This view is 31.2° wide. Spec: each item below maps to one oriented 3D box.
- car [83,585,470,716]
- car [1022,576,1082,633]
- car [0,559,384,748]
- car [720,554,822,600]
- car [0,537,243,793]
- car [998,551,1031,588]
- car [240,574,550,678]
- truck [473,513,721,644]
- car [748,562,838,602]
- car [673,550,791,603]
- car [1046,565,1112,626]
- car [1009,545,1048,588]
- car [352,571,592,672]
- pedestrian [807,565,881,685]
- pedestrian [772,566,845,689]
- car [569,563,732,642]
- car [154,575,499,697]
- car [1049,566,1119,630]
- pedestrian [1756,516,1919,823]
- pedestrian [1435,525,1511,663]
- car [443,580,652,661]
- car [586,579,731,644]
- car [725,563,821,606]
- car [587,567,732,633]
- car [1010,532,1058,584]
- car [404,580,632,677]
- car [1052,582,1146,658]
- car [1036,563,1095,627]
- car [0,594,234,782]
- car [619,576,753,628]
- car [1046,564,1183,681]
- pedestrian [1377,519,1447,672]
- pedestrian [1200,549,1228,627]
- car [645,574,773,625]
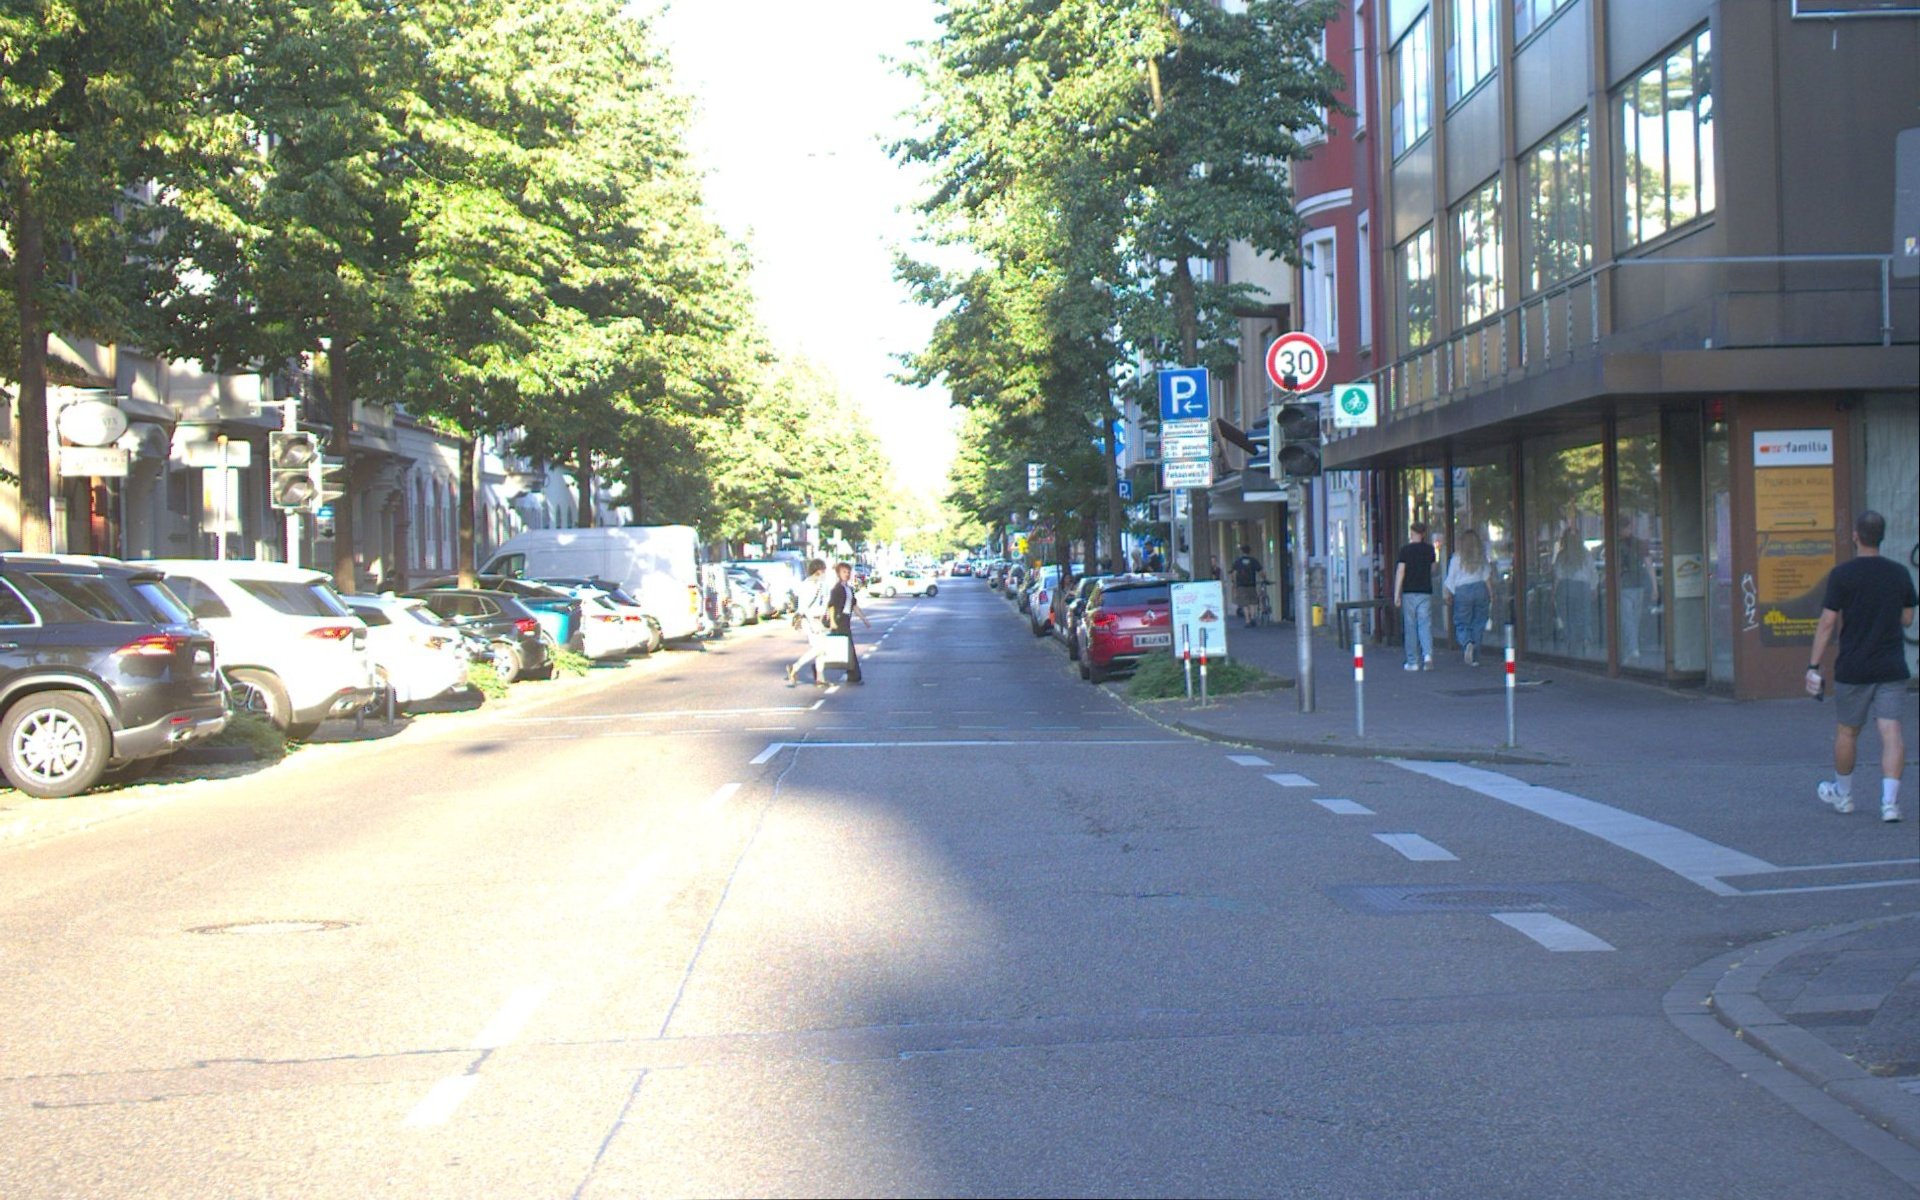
[{"bbox_3d":[-8.009,0.580,40.581,4.175,1.502,2.000,0,0,0],"label":"car"},{"bbox_3d":[2.159,0.109,81.174,1.206,1.296,2.661,0,0,-3],"label":"car"},{"bbox_3d":[-7.568,0.482,32.370,3.989,1.702,1.833,0,1,0],"label":"car"},{"bbox_3d":[-7.138,-0.876,129.996,3.739,1.702,2.000,0,1,0],"label":"car"},{"bbox_3d":[-7.796,0.467,25.685,4.449,1.829,2.034,0,0,0],"label":"car"},{"bbox_3d":[2.437,-1.347,153.622,1.308,1.594,2.661,0,0,-3],"label":"car"},{"bbox_3d":[-8.650,0.379,52.908,4.426,1.498,2.000,-1,0,0],"label":"car"},{"bbox_3d":[-7.556,-0.453,71.904,4.941,2.606,2.000,-1,0,0],"label":"truck"},{"bbox_3d":[-7.122,-0.774,147.112,3.739,1.702,2.000,0,1,0],"label":"car"},{"bbox_3d":[-7.443,-0.786,112.408,3.739,1.702,2.000,0,1,0],"label":"car"},{"bbox_3d":[2.547,-0.091,73.982,1.206,1.296,2.661,0,0,-3],"label":"car"},{"bbox_3d":[2.641,-1.280,132.762,1.308,1.594,2.661,0,0,-3],"label":"car"},{"bbox_3d":[-8.168,0.349,57.773,3.739,1.636,2.000,0,1,0],"label":"car"},{"bbox_3d":[-1.634,0.347,48.450,0.721,1.677,0.757,0,1,-40],"label":"pedestrian"},{"bbox_3d":[-2.089,0.369,47.478,0.714,1.667,0.710,-1,1,-40],"label":"pedestrian"},{"bbox_3d":[-7.416,0.041,82.688,3.739,1.852,2.000,0,1,0],"label":"car"},{"bbox_3d":[-8.793,0.487,48.006,4.426,1.594,2.000,-1,0,0],"label":"car"},{"bbox_3d":[2.548,-0.034,70.931,1.206,1.296,2.661,0,0,-3],"label":"car"},{"bbox_3d":[4.910,0.359,18.913,0.755,1.635,1.259,0,1,-1],"label":"pedestrian"},{"bbox_3d":[6.395,-0.081,42.862,0.765,1.683,0.786,-1,1,-2],"label":"pedestrian"},{"bbox_3d":[-7.836,0.379,65.569,3.739,1.445,2.000,-1,0,0],"label":"car"},{"bbox_3d":[-7.762,0.290,88.744,3.586,1.589,1.701,-1,0,0],"label":"car"},{"bbox_3d":[-7.519,-0.630,138.541,3.739,1.702,2.000,0,1,0],"label":"car"},{"bbox_3d":[-8.098,-0.008,92.983,3.739,1.702,2.000,-1,0,0],"label":"car"},{"bbox_3d":[2.312,-1.302,107.316,1.308,1.594,2.661,0,0,-3],"label":"car"},{"bbox_3d":[-7.762,0.517,60.643,3.739,1.590,2.000,-1,-2,0],"label":"car"},{"bbox_3d":[2.418,0.349,60.244,1.304,1.288,3.014,1,0,-4],"label":"car"},{"bbox_3d":[2.695,-0.121,88.317,1.308,1.594,2.661,0,0,-3],"label":"car"},{"bbox_3d":[-8.076,0.691,27.761,4.032,1.439,1.831,0,1,0],"label":"car"},{"bbox_3d":[-7.977,0.050,100.206,3.739,1.445,2.000,-1,0,0],"label":"car"},{"bbox_3d":[2.174,0.318,49.240,1.576,1.537,3.397,-3,0,-3],"label":"car"},{"bbox_3d":[5.613,-0.061,42.697,0.714,1.859,0.680,-1,1,-3],"label":"pedestrian"},{"bbox_3d":[5.275,-0.251,71.457,0.534,1.616,0.534,0,1,1],"label":"pedestrian"},{"bbox_3d":[-7.647,-0.021,104.830,3.739,1.487,2.000,-1,0,0],"label":"car"}]
